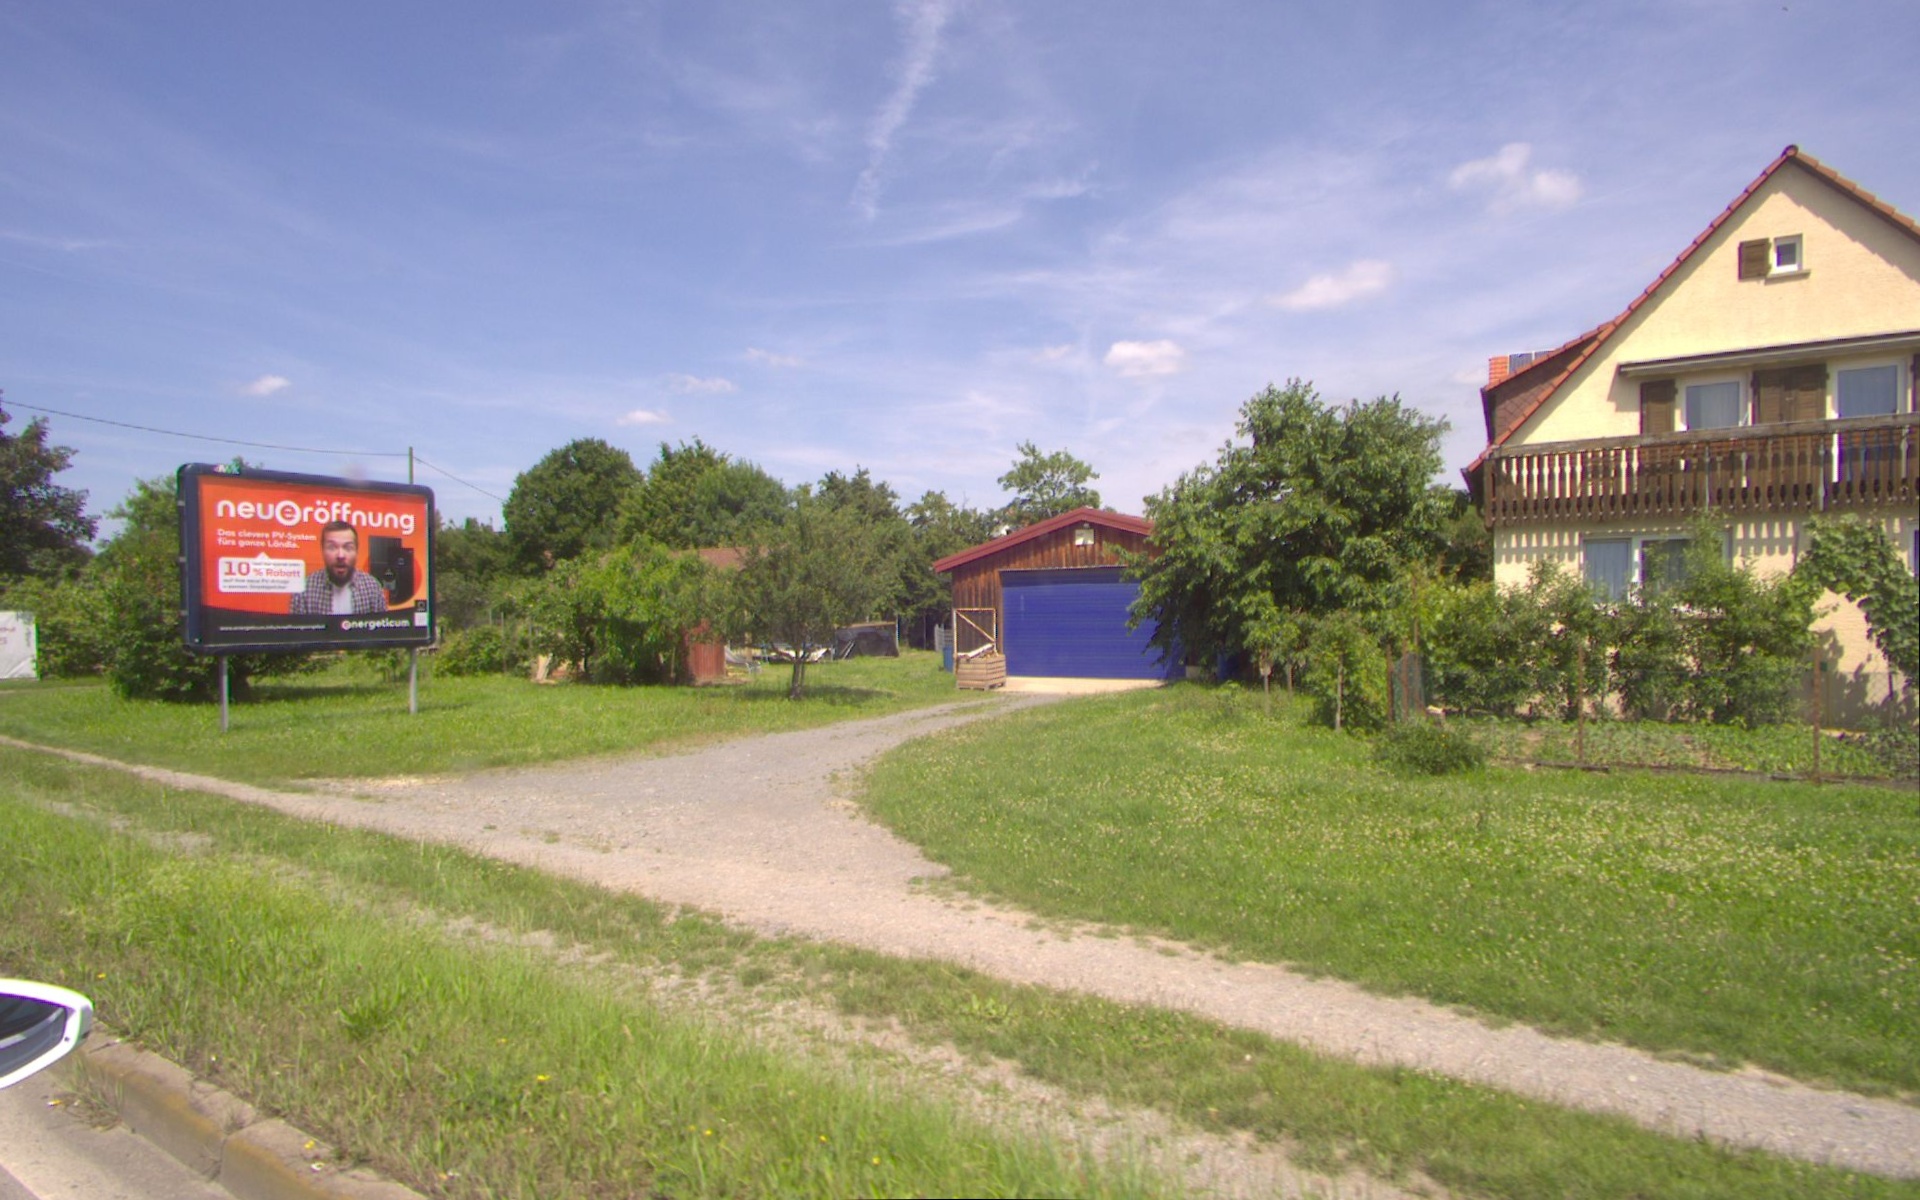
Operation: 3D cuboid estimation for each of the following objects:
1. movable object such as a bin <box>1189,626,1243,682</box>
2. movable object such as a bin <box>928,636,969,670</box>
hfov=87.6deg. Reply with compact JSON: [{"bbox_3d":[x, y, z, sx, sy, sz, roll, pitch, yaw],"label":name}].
[{"bbox_3d":[6.792,1.415,26.557,1.049,1.415,1.271,0,-1,33],"label":"movable object such as a bin"},{"bbox_3d":[-0.362,1.715,32.577,1.044,1.046,1.040,0,-1,18],"label":"movable object such as a bin"}]
